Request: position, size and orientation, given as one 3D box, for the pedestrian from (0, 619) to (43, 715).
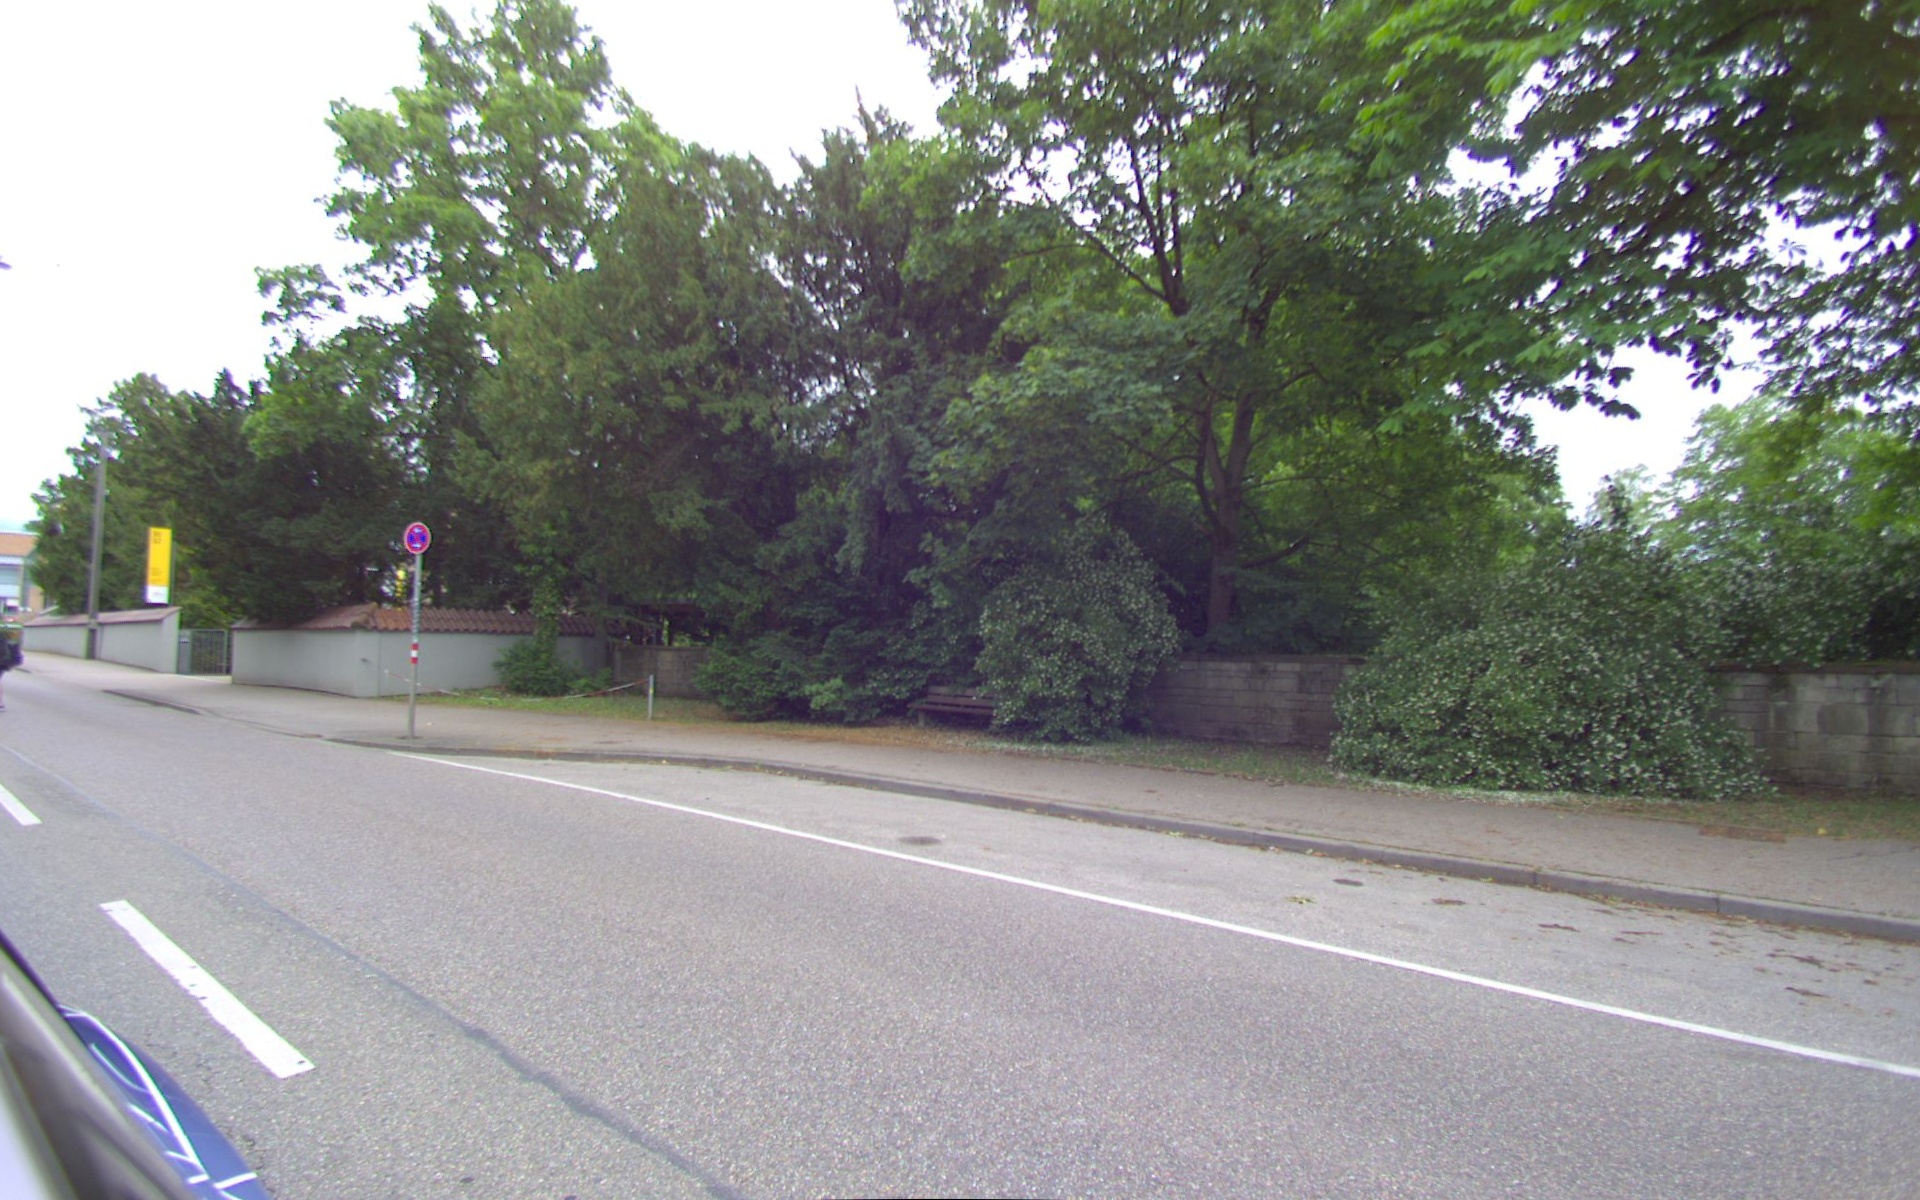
[{"bbox_3d":[-16.235,1.103,16.932,0.887,1.572,0.931,2,-4,-12],"label":"pedestrian"}]
